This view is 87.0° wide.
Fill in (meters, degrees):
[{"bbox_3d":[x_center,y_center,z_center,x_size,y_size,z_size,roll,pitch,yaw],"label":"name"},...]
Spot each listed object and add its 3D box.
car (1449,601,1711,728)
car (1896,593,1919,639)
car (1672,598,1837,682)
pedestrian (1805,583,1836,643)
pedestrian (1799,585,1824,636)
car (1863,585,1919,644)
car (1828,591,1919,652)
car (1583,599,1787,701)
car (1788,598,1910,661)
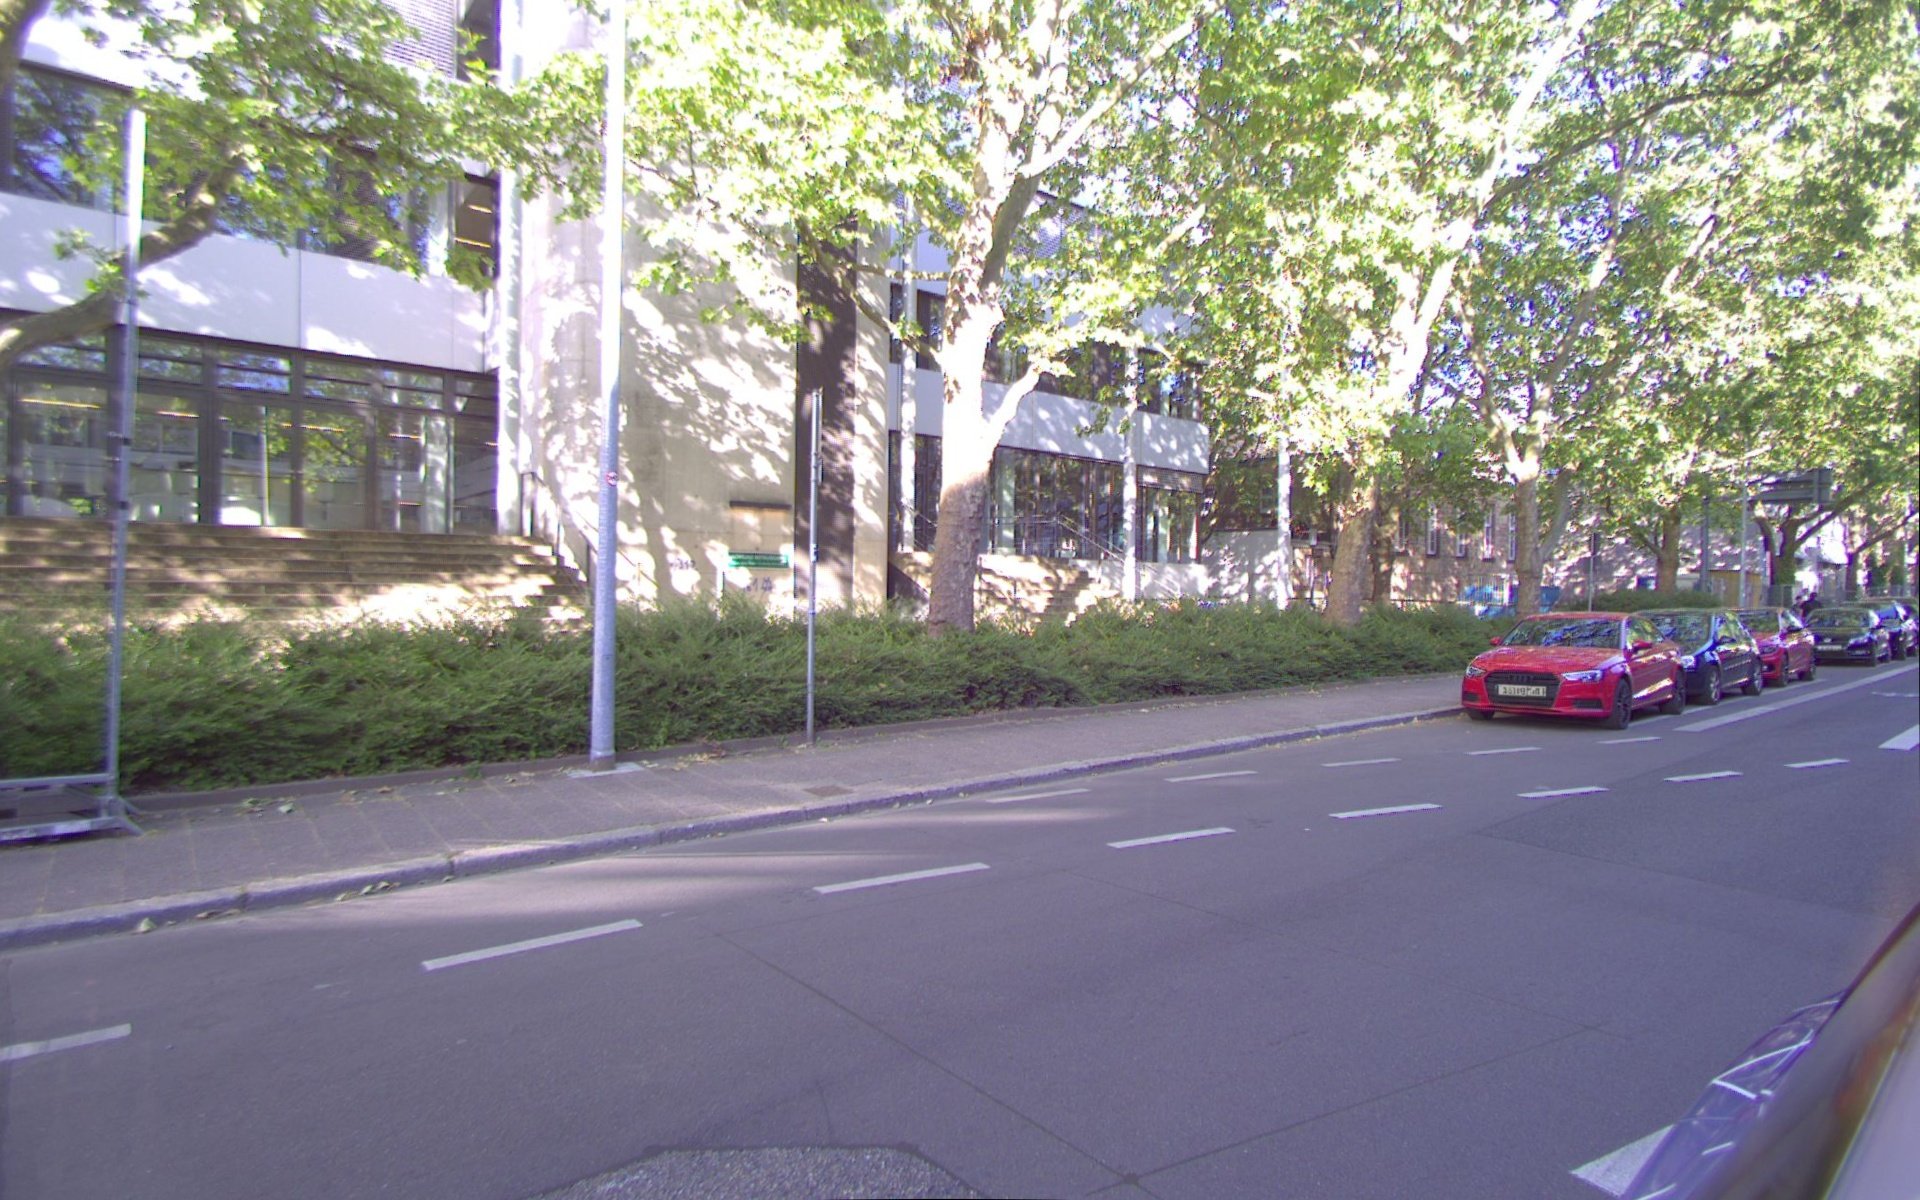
[{"bbox_3d":[8.394,0.735,13.558,4.173,1.422,1.834,0,0,-41],"label":"car"},{"bbox_3d":[35.899,0.580,37.091,4.183,1.634,1.834,0,0,-40],"label":"car"},{"bbox_3d":[15.829,0.708,20.090,4.095,1.486,1.834,0,0,-41],"label":"car"},{"bbox_3d":[27.346,0.406,32.150,0.629,1.884,0.660,0,0,-41],"label":"pedestrian"},{"bbox_3d":[30.434,0.368,36.169,0.583,1.818,0.600,0,0,-41],"label":"pedestrian"},{"bbox_3d":[31.036,0.438,32.965,4.383,1.820,1.834,0,0,-40],"label":"car"},{"bbox_3d":[26.550,0.572,29.076,4.088,1.626,1.834,0,0,-40],"label":"car"},{"bbox_3d":[12.014,0.718,16.675,4.095,1.464,1.834,0,0,-41],"label":"car"},{"bbox_3d":[22.861,0.701,25.981,4.095,1.486,1.834,0,0,-41],"label":"car"}]
